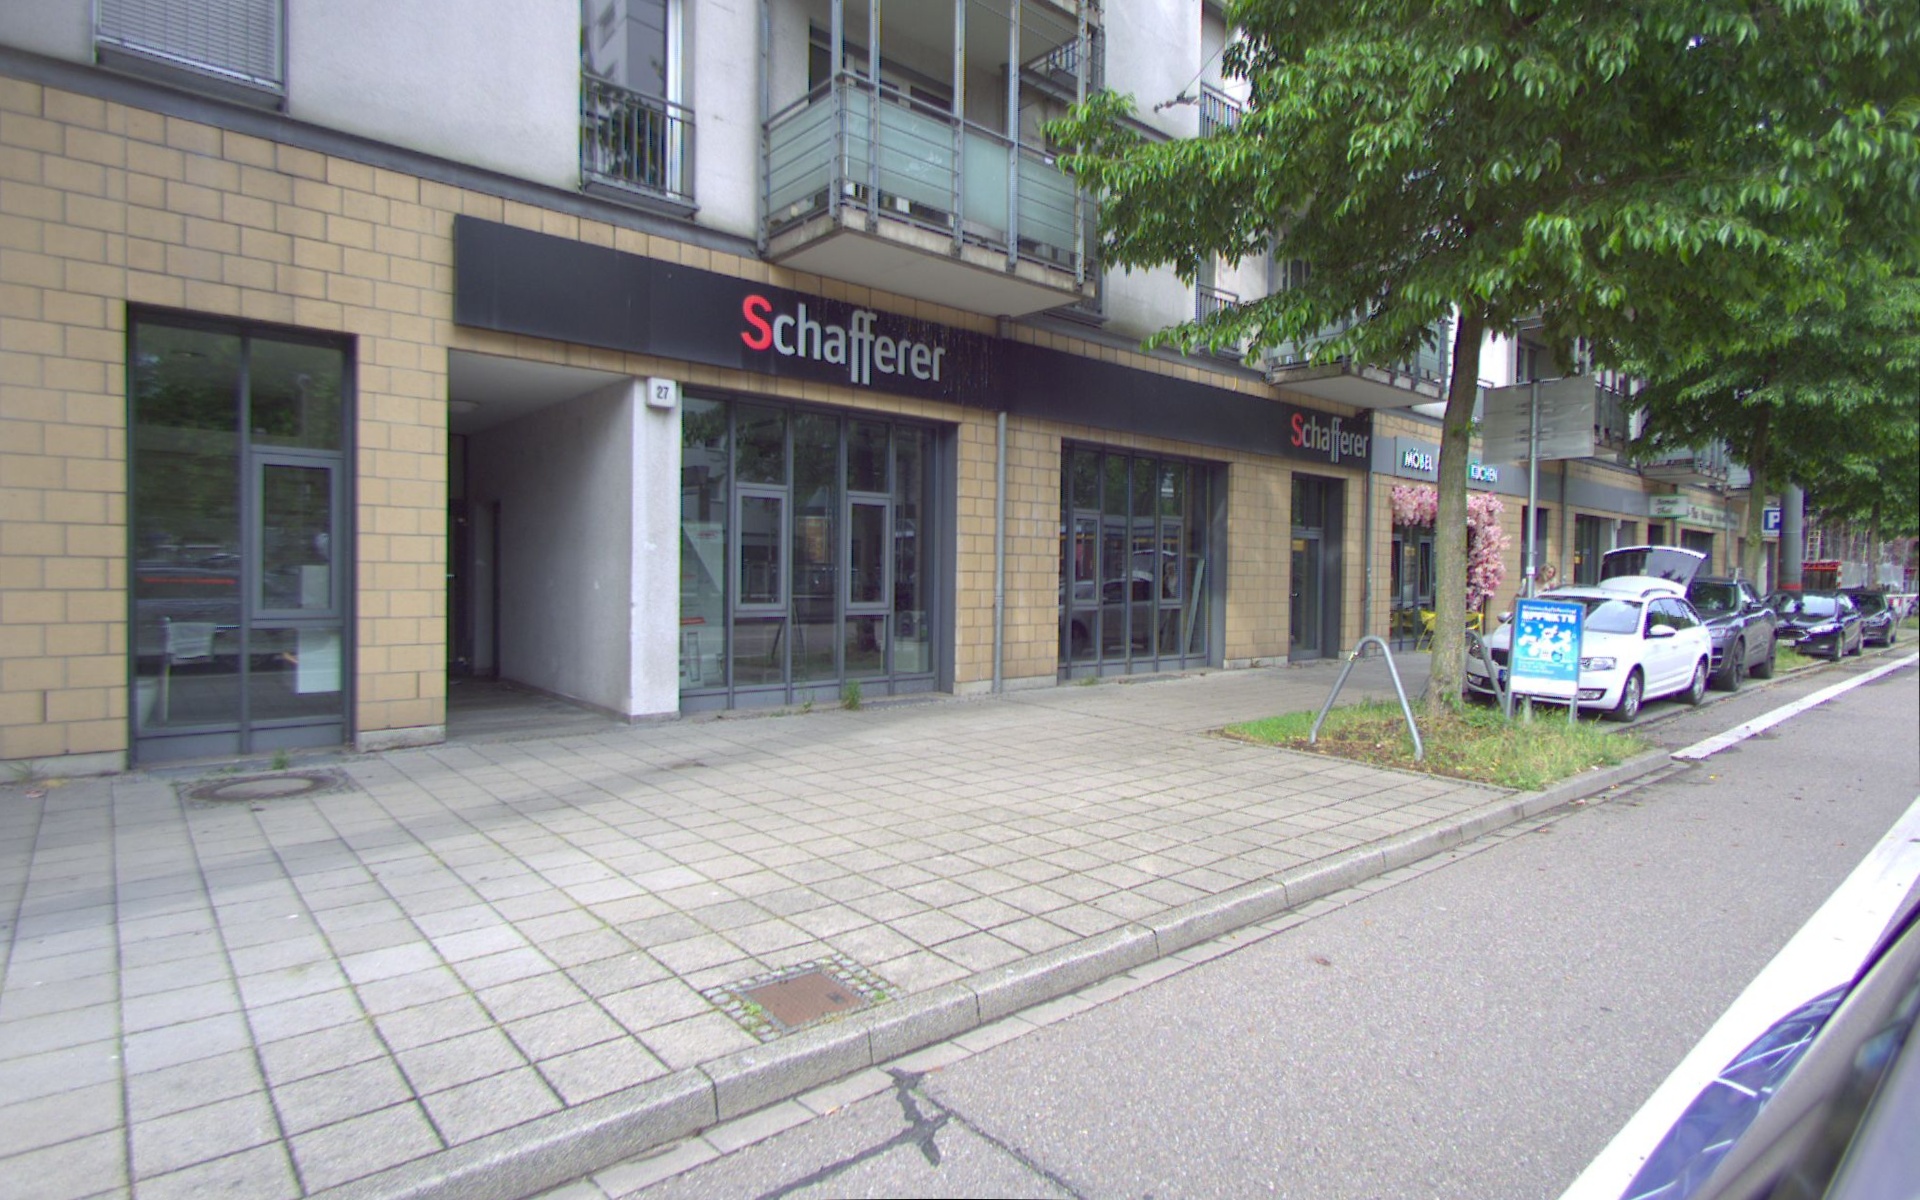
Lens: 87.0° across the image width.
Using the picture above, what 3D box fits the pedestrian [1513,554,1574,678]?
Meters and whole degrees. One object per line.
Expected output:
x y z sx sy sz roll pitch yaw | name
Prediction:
8.433 0.206 14.653 0.611 1.738 0.733 2 2 22 | pedestrian

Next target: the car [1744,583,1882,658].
18.638 0.384 22.051 4.095 1.394 1.612 -1 5 -41 | car

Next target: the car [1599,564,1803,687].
11.798 0.315 16.035 3.732 1.630 1.738 -1 5 -41 | car

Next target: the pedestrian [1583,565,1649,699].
9.638 0.446 14.874 0.588 1.907 0.656 0 1 -40 | pedestrian

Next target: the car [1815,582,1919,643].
24.159 0.285 26.877 3.603 1.417 1.612 -1 5 -41 | car

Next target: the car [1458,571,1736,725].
8.125 0.471 12.762 4.233 1.539 1.738 -1 5 -41 | car
